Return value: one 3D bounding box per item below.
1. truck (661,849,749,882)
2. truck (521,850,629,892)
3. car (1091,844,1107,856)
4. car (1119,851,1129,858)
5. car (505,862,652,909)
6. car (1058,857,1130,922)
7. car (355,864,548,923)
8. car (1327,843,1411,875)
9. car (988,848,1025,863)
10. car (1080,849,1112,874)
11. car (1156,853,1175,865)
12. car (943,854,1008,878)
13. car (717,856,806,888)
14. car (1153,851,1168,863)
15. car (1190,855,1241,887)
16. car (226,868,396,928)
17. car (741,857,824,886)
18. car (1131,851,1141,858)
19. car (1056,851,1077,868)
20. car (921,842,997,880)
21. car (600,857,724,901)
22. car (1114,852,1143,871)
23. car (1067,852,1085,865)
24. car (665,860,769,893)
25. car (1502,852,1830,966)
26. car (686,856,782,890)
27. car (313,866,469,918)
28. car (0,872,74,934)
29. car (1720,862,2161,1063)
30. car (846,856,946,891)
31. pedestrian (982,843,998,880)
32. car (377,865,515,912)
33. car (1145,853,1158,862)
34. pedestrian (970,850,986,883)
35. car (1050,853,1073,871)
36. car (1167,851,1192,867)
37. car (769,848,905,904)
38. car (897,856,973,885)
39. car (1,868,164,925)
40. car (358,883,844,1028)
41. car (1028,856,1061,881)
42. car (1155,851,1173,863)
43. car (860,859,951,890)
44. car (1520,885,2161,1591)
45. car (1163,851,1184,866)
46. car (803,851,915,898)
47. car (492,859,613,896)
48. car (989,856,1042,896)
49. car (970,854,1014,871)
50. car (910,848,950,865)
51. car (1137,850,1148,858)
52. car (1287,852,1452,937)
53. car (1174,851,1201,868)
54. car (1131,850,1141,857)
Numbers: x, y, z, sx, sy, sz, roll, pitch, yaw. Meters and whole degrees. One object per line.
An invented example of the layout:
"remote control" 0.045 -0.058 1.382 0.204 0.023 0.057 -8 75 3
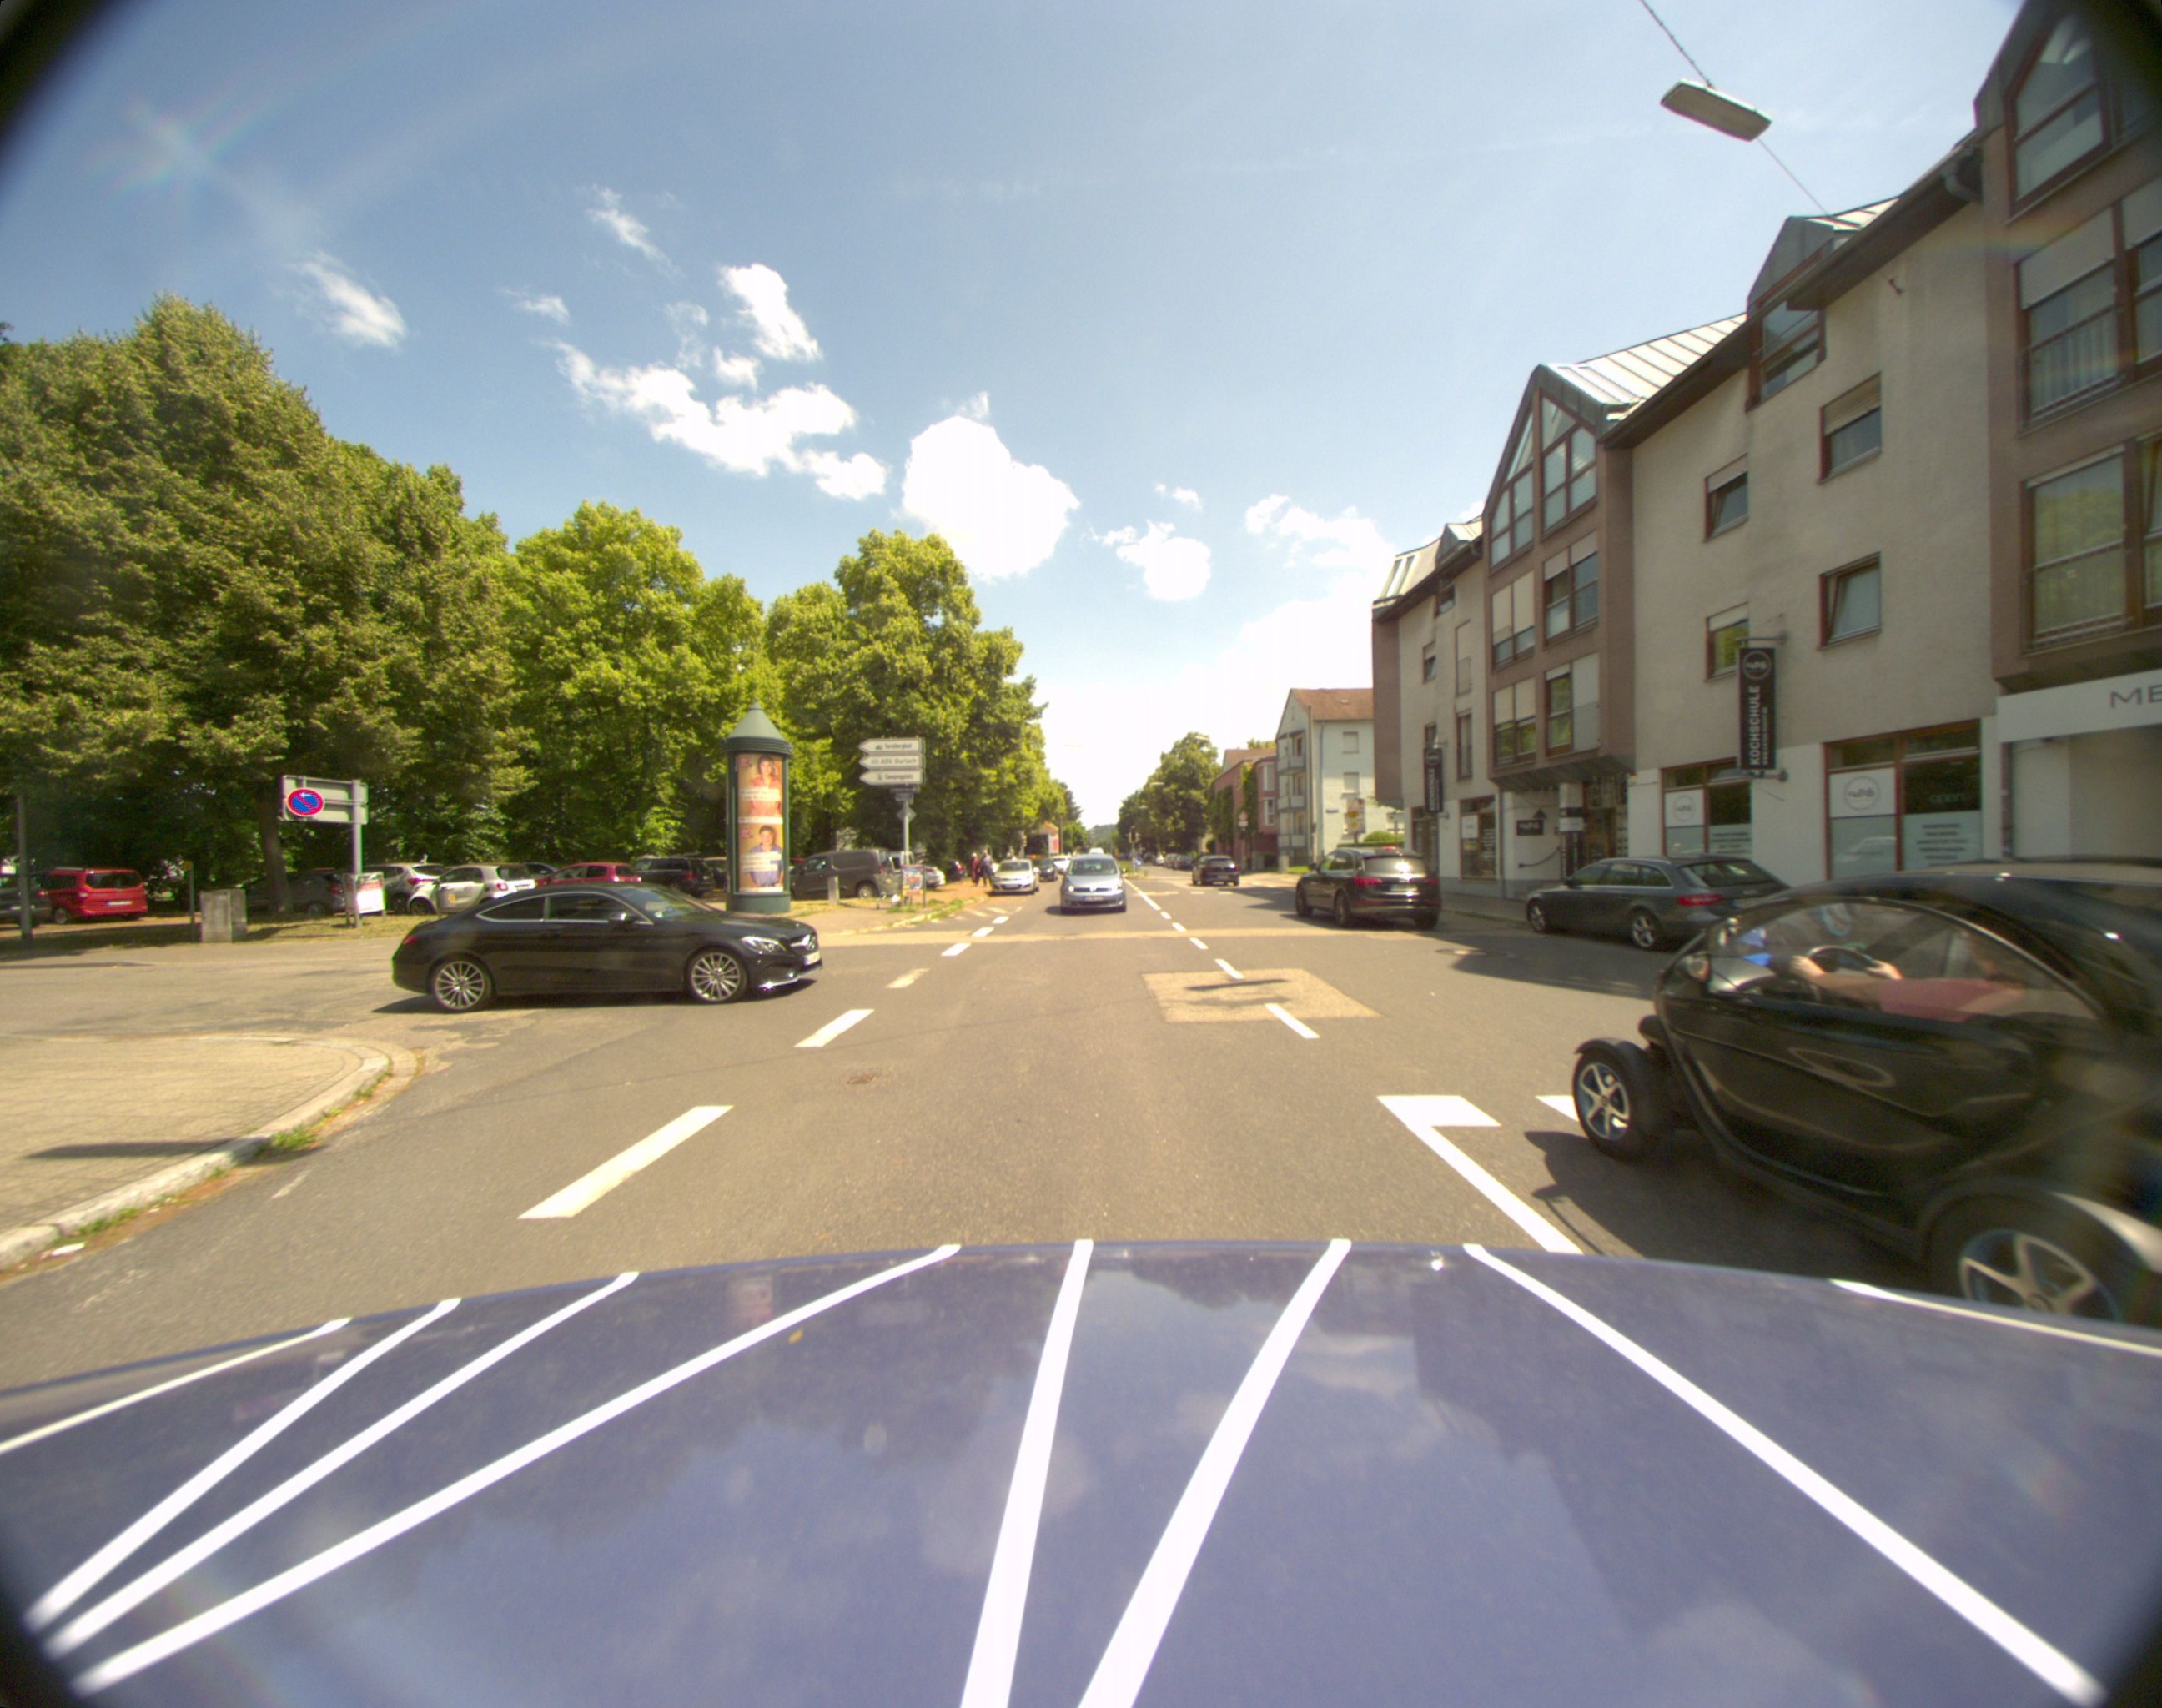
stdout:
"truck" -21.512 0.640 43.555 4.130 1.804 1.879 -1 1 3
"truck" -23.336 0.759 35.112 3.806 1.870 1.738 -1 1 3
"car" 2.250 -0.446 92.456 1.720 1.406 4.590 -1 0 4
"car" 8.820 0.113 155.735 1.752 1.499 3.999 -2 0 0
"car" -17.539 1.078 26.658 3.997 1.520 1.680 0 1 -1
"car" 0.361 0.879 20.767 1.747 1.513 4.223 -1 0 1
"car" -17.687 1.086 21.496 3.997 1.545 1.680 0 1 -1
"car" 16.285 0.306 43.056 3.997 1.443 1.733 -5 -1 0
"car" -7.806 0.119 80.266 3.762 1.518 1.853 -1 0 -2
"car" 1.089 0.497 53.083 1.998 1.652 4.626 -1 0 4
"car" 10.129 0.595 91.321 1.752 1.433 3.999 -2 0 0
"car" -7.547 0.835 54.418 4.336 1.485 1.808 -3 0 0
"car" -17.022 0.960 40.580 3.996 1.652 1.805 0 1 3
"car" 10.807 0.410 102.995 1.572 1.499 3.999 -2 0 0
"car" 6.371 0.788 36.366 1.747 1.411 4.223 0 0 0
"car" -21.494 1.204 21.294 3.070 1.545 1.591 0 1 -1
"car" -16.976 0.992 43.335 3.996 1.577 1.805 0 1 3
"car" 11.864 0.057 164.189 1.757 1.325 3.607 -2 0 0
"car" -1.411 0.522 75.879 1.867 1.516 4.208 -2 0 2
"car" -8.089 0.433 50.781 4.613 2.263 2.106 -3 0 2
"car" -16.675 0.962 30.374 3.998 1.669 1.701 0 1 -2
"car" 3.909 0.590 63.490 1.868 1.516 4.290 -2 0 -3
"car" -0.540 0.478 83.743 1.775 1.434 3.338 -2 0 2
"car" -16.870 1.026 35.368 3.997 1.475 1.680 0 1 -1
"car" 9.376 0.750 12.887 1.844 1.439 4.969 -3 0 3
"car" -17.315 0.923 38.010 3.997 1.631 1.680 0 1 -1
"car" -21.673 1.178 23.957 3.389 1.545 1.591 0 1 -1
"car" -32.071 1.418 21.707 3.997 1.683 1.870 -1 0 -1
"car" 9.345 0.867 7.870 1.844 1.376 4.327 -3 0 2
"car" -8.203 0.858 33.987 3.997 1.390 1.808 -2 1 -1
"pedestrian" -4.424 0.373 37.004 0.618 1.754 0.737 -2 1 1
"car" -21.939 1.165 26.330 3.389 1.545 1.591 0 1 -1
"car" 11.214 0.605 120.769 1.757 1.325 3.607 -2 0 0
"pedestrian" -5.020 0.608 37.027 0.618 1.584 0.737 -2 1 1
"car" -1.715 0.678 68.123 1.721 1.434 4.112 -3 0 2
"car" 10.092 0.473 78.263 1.891 1.531 4.568 -1 0 -1
"car" -8.396 0.742 26.399 3.997 1.740 2.016 -2 1 0
"car" -8.503 0.957 44.481 3.996 1.464 1.717 -3 1 3
"car" -32.031 1.347 24.407 3.796 1.658 1.719 -1 2 13
"car" -5.528 1.140 9.268 4.593 1.357 2.000 -2 0 -1
"car" -2.180 0.863 46.412 1.667 1.420 4.000 -1 0 2
"car" 10.650 0.379 97.829 1.752 1.499 3.999 -2 0 0
"car" -8.480 0.988 36.930 3.996 1.420 1.669 0 1 2
"car" 3.102 0.906 2.614 1.501 1.450 2.721 -1 0 -3
"car" 10.281 0.492 84.386 1.752 1.499 3.999 -2 0 0
"car" -8.352 0.748 28.882 3.774 1.657 1.663 -1 1 -3
"car" -22.047 0.962 31.793 3.807 1.451 1.738 -1 1 0
"car" -2.679 0.853 31.803 1.771 1.476 3.890 -2 1 1
"car" -7.957 0.784 68.099 3.848 1.350 1.628 -2 1 -7
"car" -18.001 0.320 90.635 4.374 1.985 1.854 0 1 -3
"car" 11.535 0.019 142.402 1.757 1.325 3.607 -2 0 0
"car" 6.061 0.770 16.592 1.817 1.611 4.440 0 0 -2
"car" 10.009 0.531 71.904 1.891 1.531 4.568 -1 0 -1
"car" 11.555 -0.135 158.903 1.757 1.325 3.607 -2 0 0
